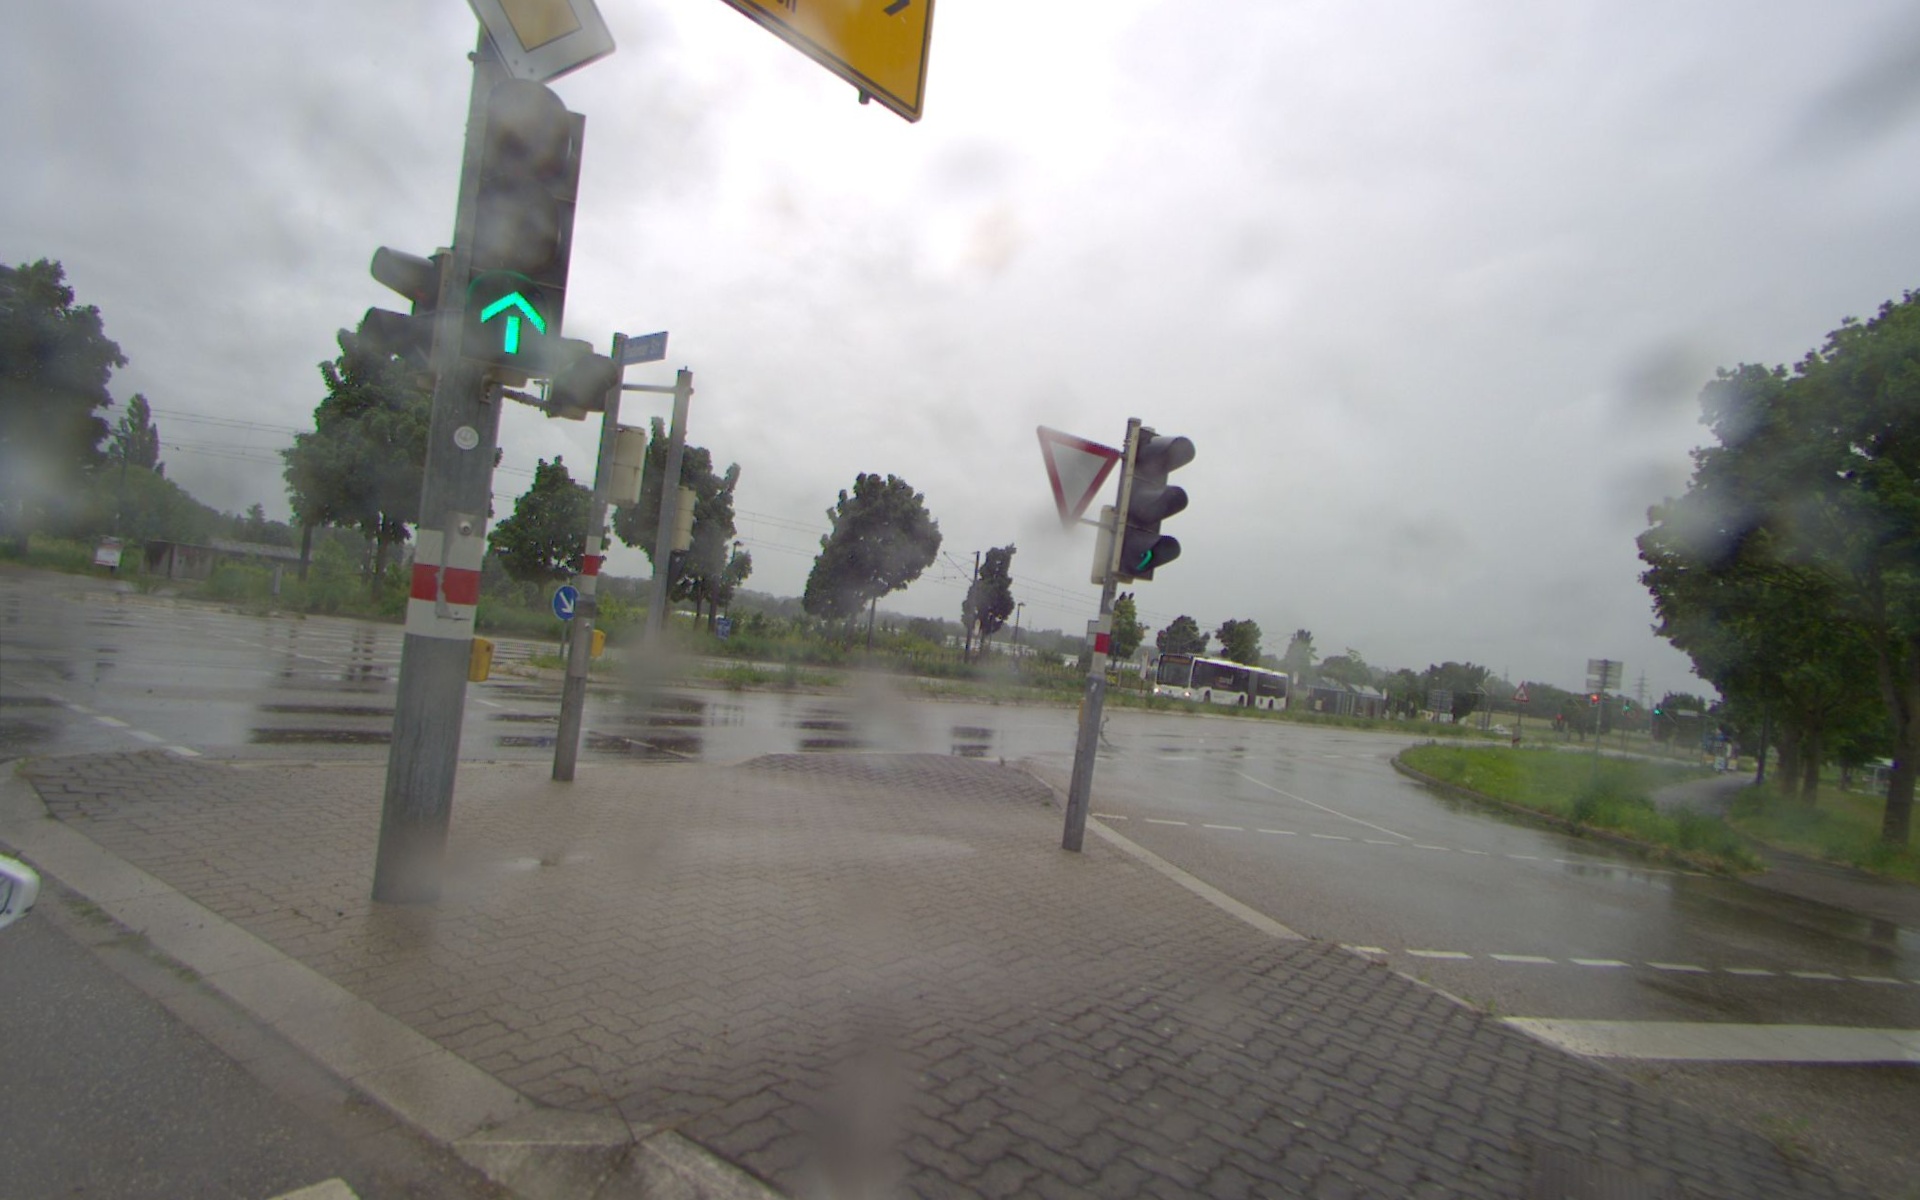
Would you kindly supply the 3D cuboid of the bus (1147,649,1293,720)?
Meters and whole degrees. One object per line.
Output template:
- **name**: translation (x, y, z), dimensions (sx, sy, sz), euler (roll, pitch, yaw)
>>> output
- **bus**: translation (18.189, 5.963, 68.466), dimensions (2.714, 3.827, 18.390), euler (6, -2, 36)
